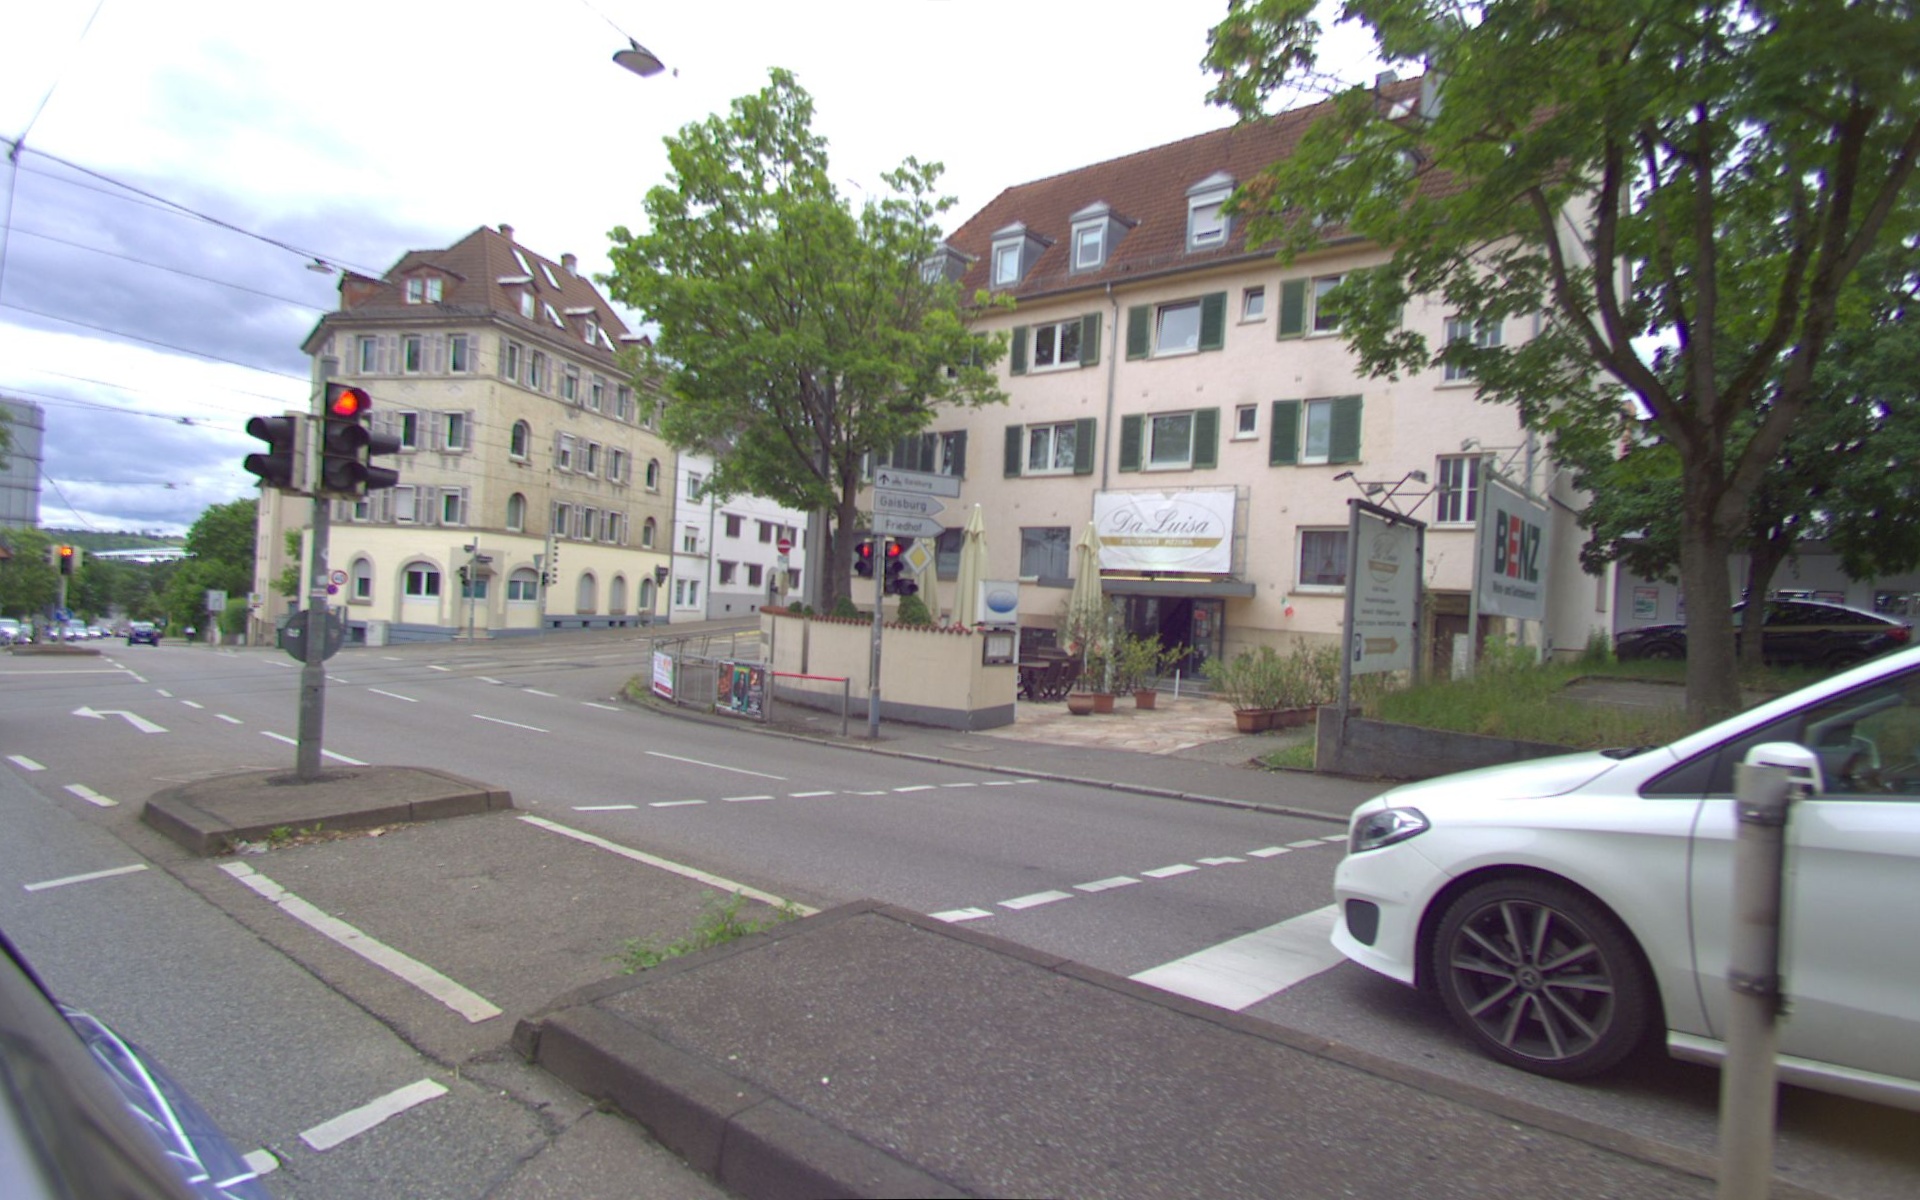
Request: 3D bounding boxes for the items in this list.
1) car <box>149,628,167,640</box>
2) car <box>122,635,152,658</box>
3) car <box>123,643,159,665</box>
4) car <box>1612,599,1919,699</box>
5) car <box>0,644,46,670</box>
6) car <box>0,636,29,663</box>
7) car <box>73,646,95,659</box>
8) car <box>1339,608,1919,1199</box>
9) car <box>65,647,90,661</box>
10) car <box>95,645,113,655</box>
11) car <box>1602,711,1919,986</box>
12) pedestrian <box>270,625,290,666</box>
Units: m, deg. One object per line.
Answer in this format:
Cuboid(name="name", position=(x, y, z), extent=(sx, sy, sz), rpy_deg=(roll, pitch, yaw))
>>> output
Cuboid(name="car", position=(-113.956, 4.853, 143.812), extent=(1.967, 1.612, 4.008), rpy_deg=(1, -2, -37))
Cuboid(name="car", position=(-71.797, 4.063, 88.280), extent=(1.841, 1.898, 4.292), rpy_deg=(6, -6, -40))
Cuboid(name="car", position=(-57.724, 3.776, 71.370), extent=(1.731, 1.458, 3.760), rpy_deg=(2, -2, -37))
Cuboid(name="car", position=(16.146, 0.944, 20.423), extent=(4.899, 1.817, 2.041), rpy_deg=(-1, -2, 36))
Cuboid(name="car", position=(-65.400, 3.936, 70.576), extent=(1.967, 1.642, 4.419), rpy_deg=(1, -2, -37))
Cuboid(name="car", position=(-60.658, 3.120, 64.115), extent=(1.967, 1.642, 4.418), rpy_deg=(1, -2, -37))
Cuboid(name="car", position=(-115.956, 6.952, 133.955), extent=(1.967, 1.612, 4.008), rpy_deg=(1, -2, -37))
Cuboid(name="car", position=(3.532, 0.855, 2.804), extent=(1.754, 1.558, 4.329), rpy_deg=(7, -6, -43))
Cuboid(name="car", position=(-106.570, 6.467, 122.207), extent=(1.967, 1.612, 4.008), rpy_deg=(1, -2, -37))
Cuboid(name="car", position=(-134.023, 7.820, 158.446), extent=(1.967, 1.612, 4.008), rpy_deg=(1, -2, -37))
Cuboid(name="car", position=(5.953, 1.331, 5.161), extent=(1.781, 1.291, 4.239), rpy_deg=(7, -6, -44))
Cuboid(name="pedestrian", position=(-33.443, 2.228, 49.777), extent=(0.735, 1.951, 0.905), rpy_deg=(-1, -1, -39))
